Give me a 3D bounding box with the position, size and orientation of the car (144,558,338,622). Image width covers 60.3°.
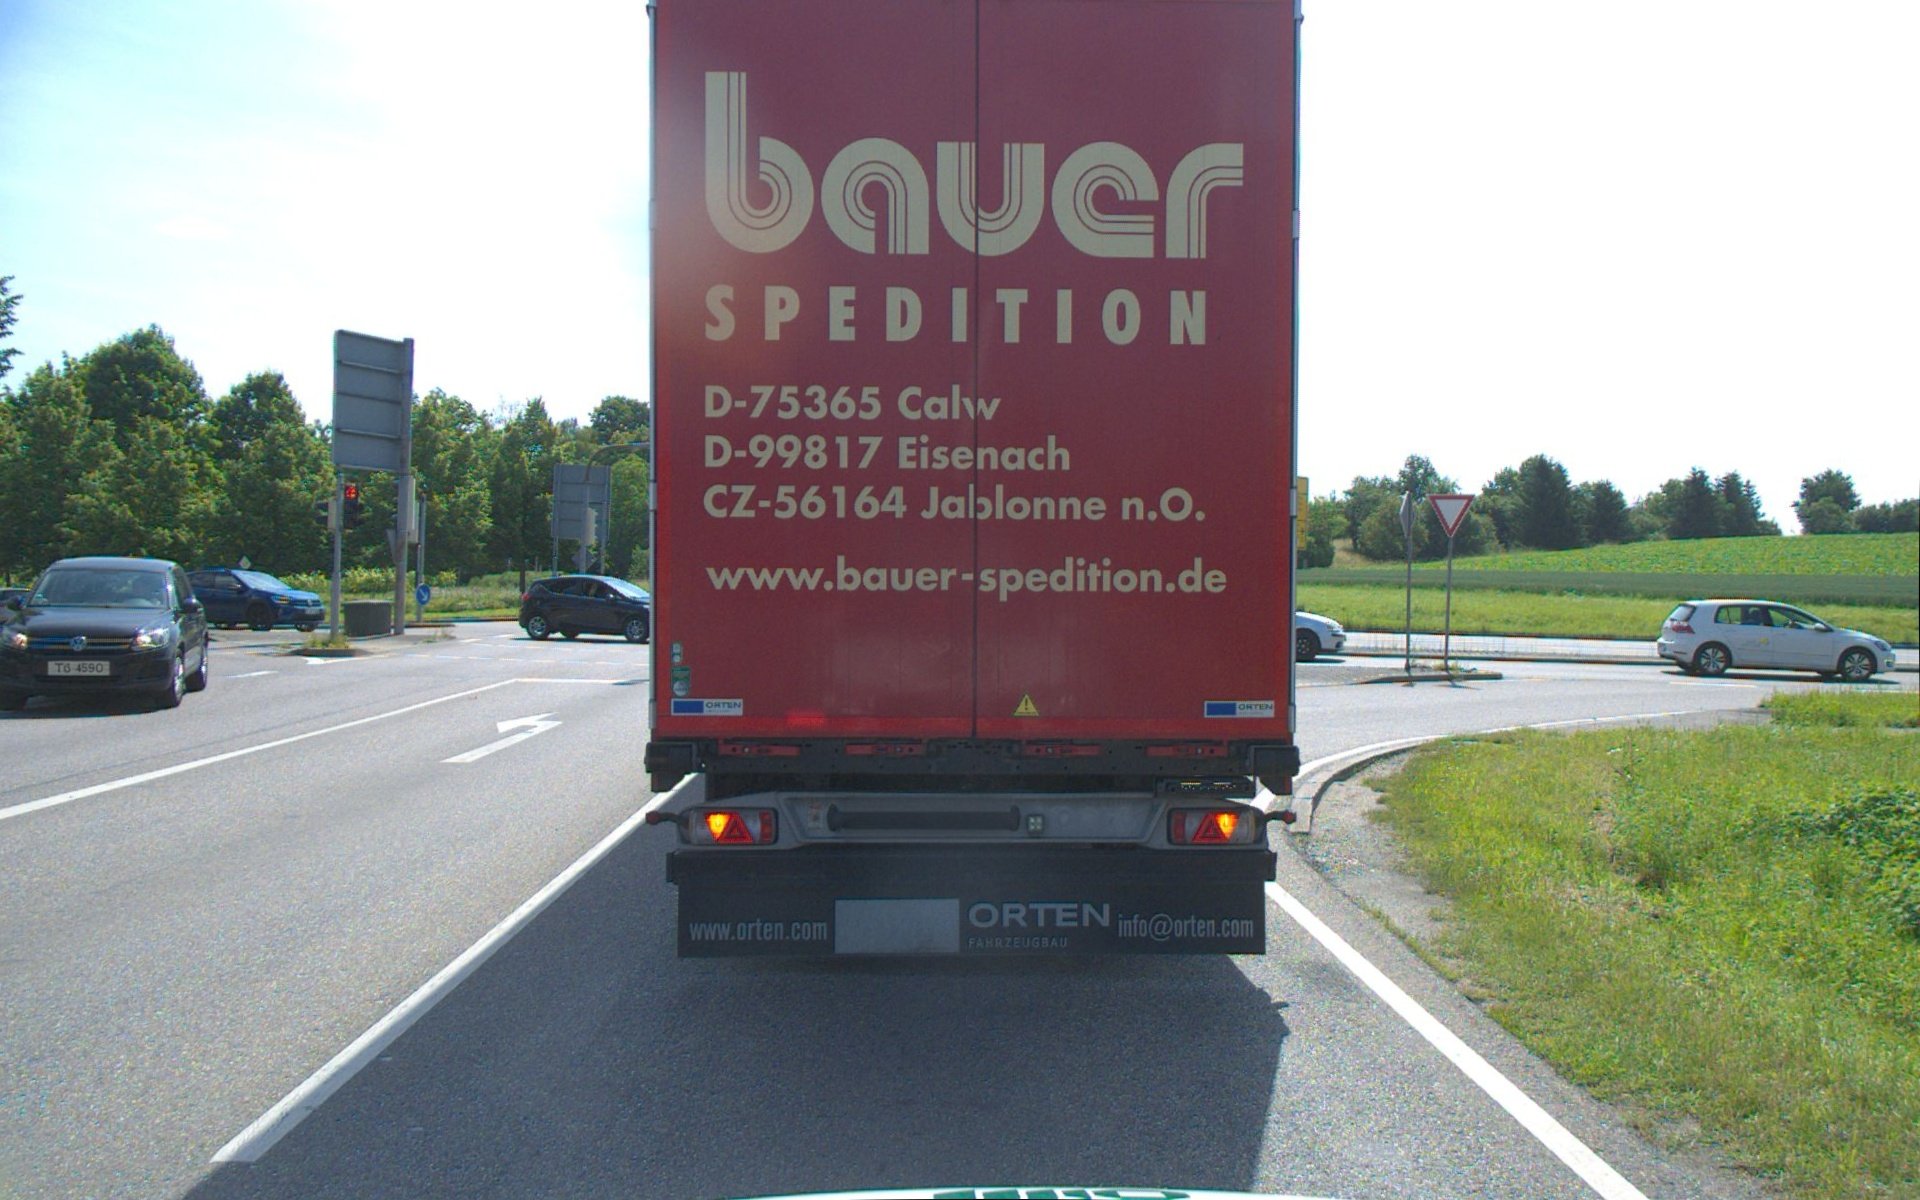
[{"bbox_3d":[-17.498,-0.249,40.298,4.177,1.454,1.743,1,0,17],"label":"car"}]

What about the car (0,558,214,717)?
[{"bbox_3d":[-9.809,0.364,19.220,1.778,1.625,4.243,0,1,-21],"label":"car"}]

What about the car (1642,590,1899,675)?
[{"bbox_3d":[15.773,0.611,32.390,4.155,1.486,1.812,1,1,10],"label":"car"}]

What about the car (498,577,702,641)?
[{"bbox_3d":[-8.170,0.202,37.686,4.176,1.328,1.743,1,0,13],"label":"car"}]

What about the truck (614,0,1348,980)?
[{"bbox_3d":[-0.072,-0.685,14.429,2.679,3.993,16.622,1,1,-1],"label":"truck"}]

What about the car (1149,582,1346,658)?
[{"bbox_3d":[6.012,0.380,34.615,3.948,1.441,1.797,1,1,11],"label":"car"}]

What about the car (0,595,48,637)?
[{"bbox_3d":[-35.639,0.571,62.034,1.526,1.517,3.942,2,-1,-44],"label":"car"}]
